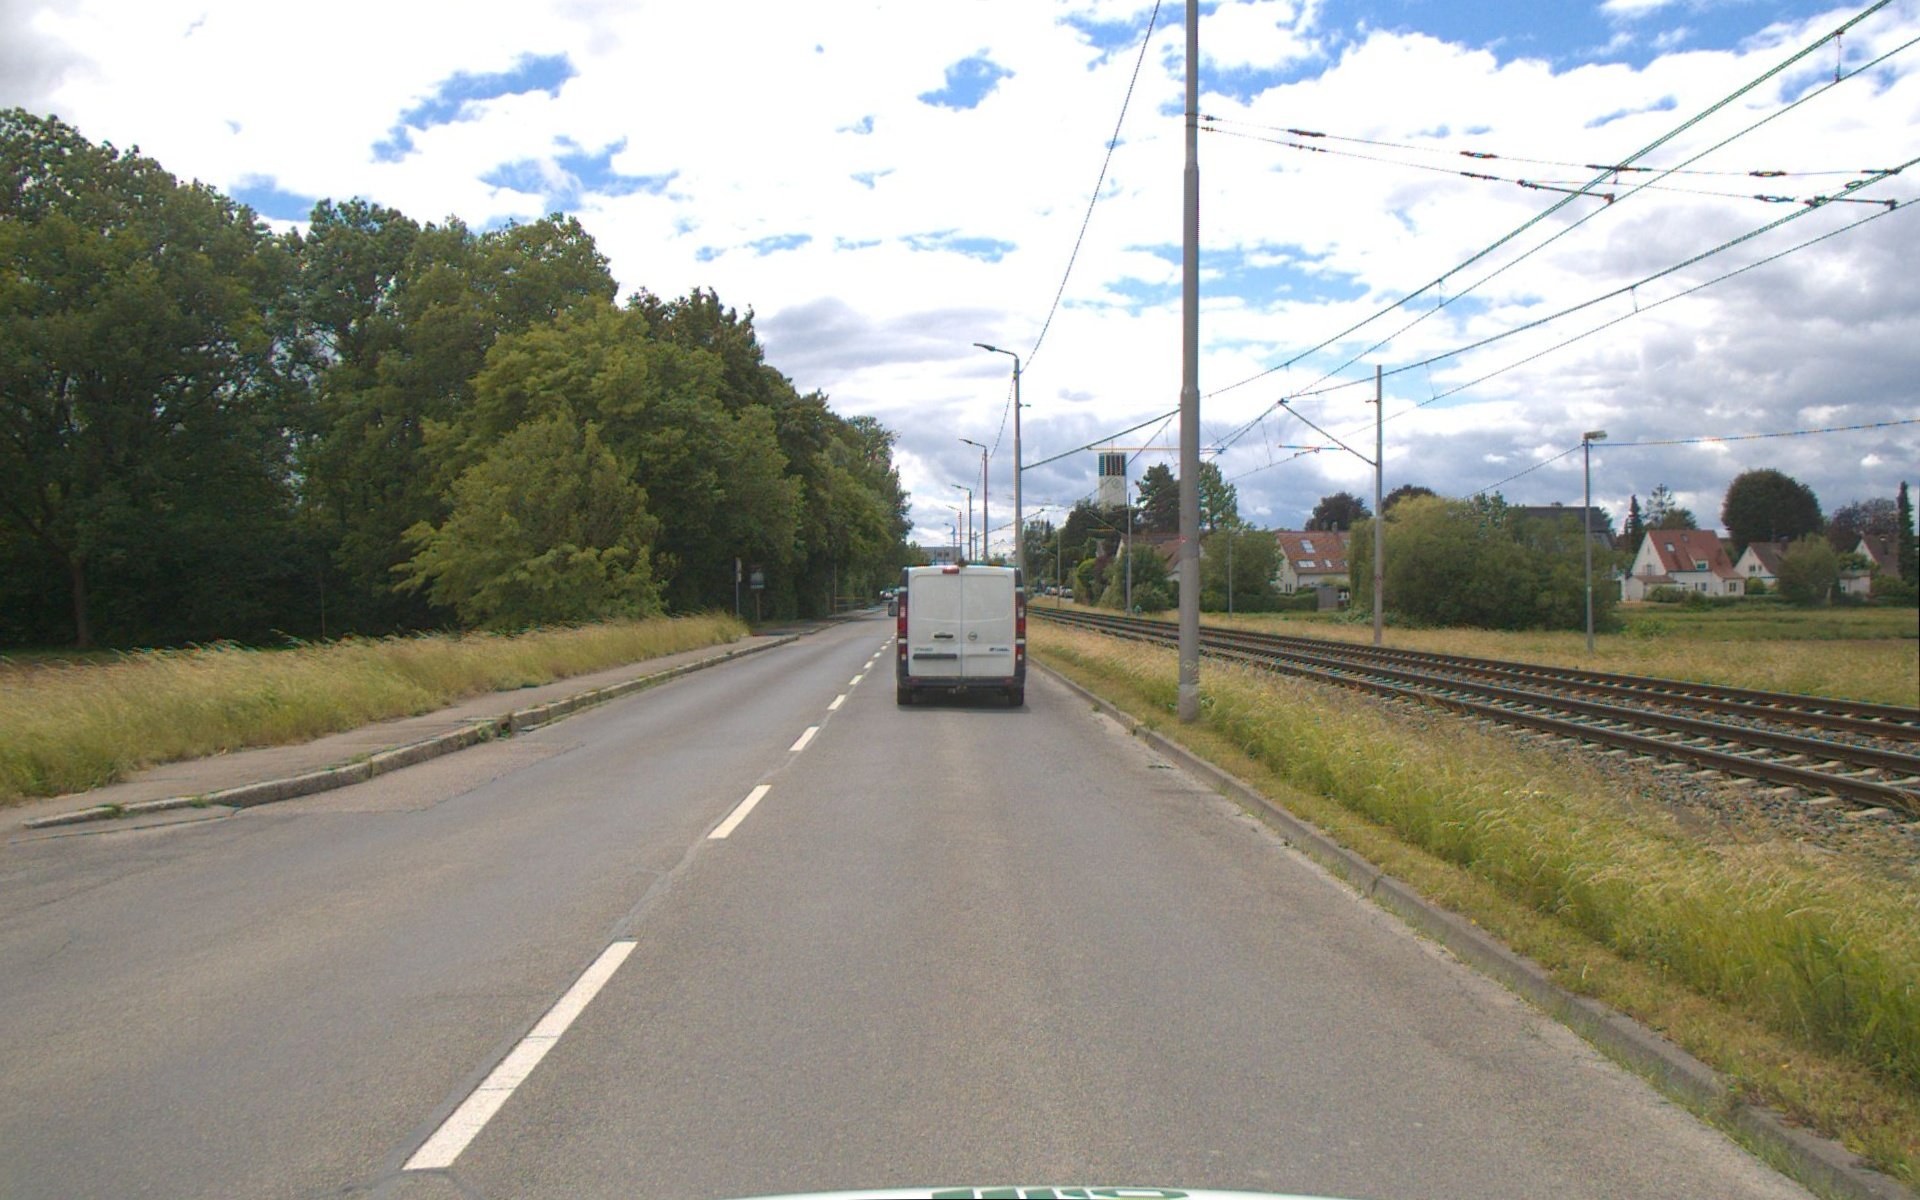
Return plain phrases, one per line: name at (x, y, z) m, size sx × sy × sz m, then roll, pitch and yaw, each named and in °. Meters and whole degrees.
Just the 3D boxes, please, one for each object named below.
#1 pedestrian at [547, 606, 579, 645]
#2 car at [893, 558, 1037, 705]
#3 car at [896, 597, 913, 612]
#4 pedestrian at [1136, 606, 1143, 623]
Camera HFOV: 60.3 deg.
pedestrian at (-15.799, 1.009, 65.806) m, size 1.014 × 1.557 × 0.941 m, roll -1°, pitch 0°, yaw -1°
car at (0.002, 0.444, 24.481) m, size 1.953 × 1.991 × 3.998 m, roll 0°, pitch -1°, yaw -2°
car at (-6.407, 0.498, 190.896) m, size 1.953 × 1.747 × 4.122 m, roll 0°, pitch 0°, yaw -2°
pedestrian at (16.563, 1.345, 152.795) m, size 0.515 × 1.532 × 0.656 m, roll 0°, pitch 0°, yaw -2°
